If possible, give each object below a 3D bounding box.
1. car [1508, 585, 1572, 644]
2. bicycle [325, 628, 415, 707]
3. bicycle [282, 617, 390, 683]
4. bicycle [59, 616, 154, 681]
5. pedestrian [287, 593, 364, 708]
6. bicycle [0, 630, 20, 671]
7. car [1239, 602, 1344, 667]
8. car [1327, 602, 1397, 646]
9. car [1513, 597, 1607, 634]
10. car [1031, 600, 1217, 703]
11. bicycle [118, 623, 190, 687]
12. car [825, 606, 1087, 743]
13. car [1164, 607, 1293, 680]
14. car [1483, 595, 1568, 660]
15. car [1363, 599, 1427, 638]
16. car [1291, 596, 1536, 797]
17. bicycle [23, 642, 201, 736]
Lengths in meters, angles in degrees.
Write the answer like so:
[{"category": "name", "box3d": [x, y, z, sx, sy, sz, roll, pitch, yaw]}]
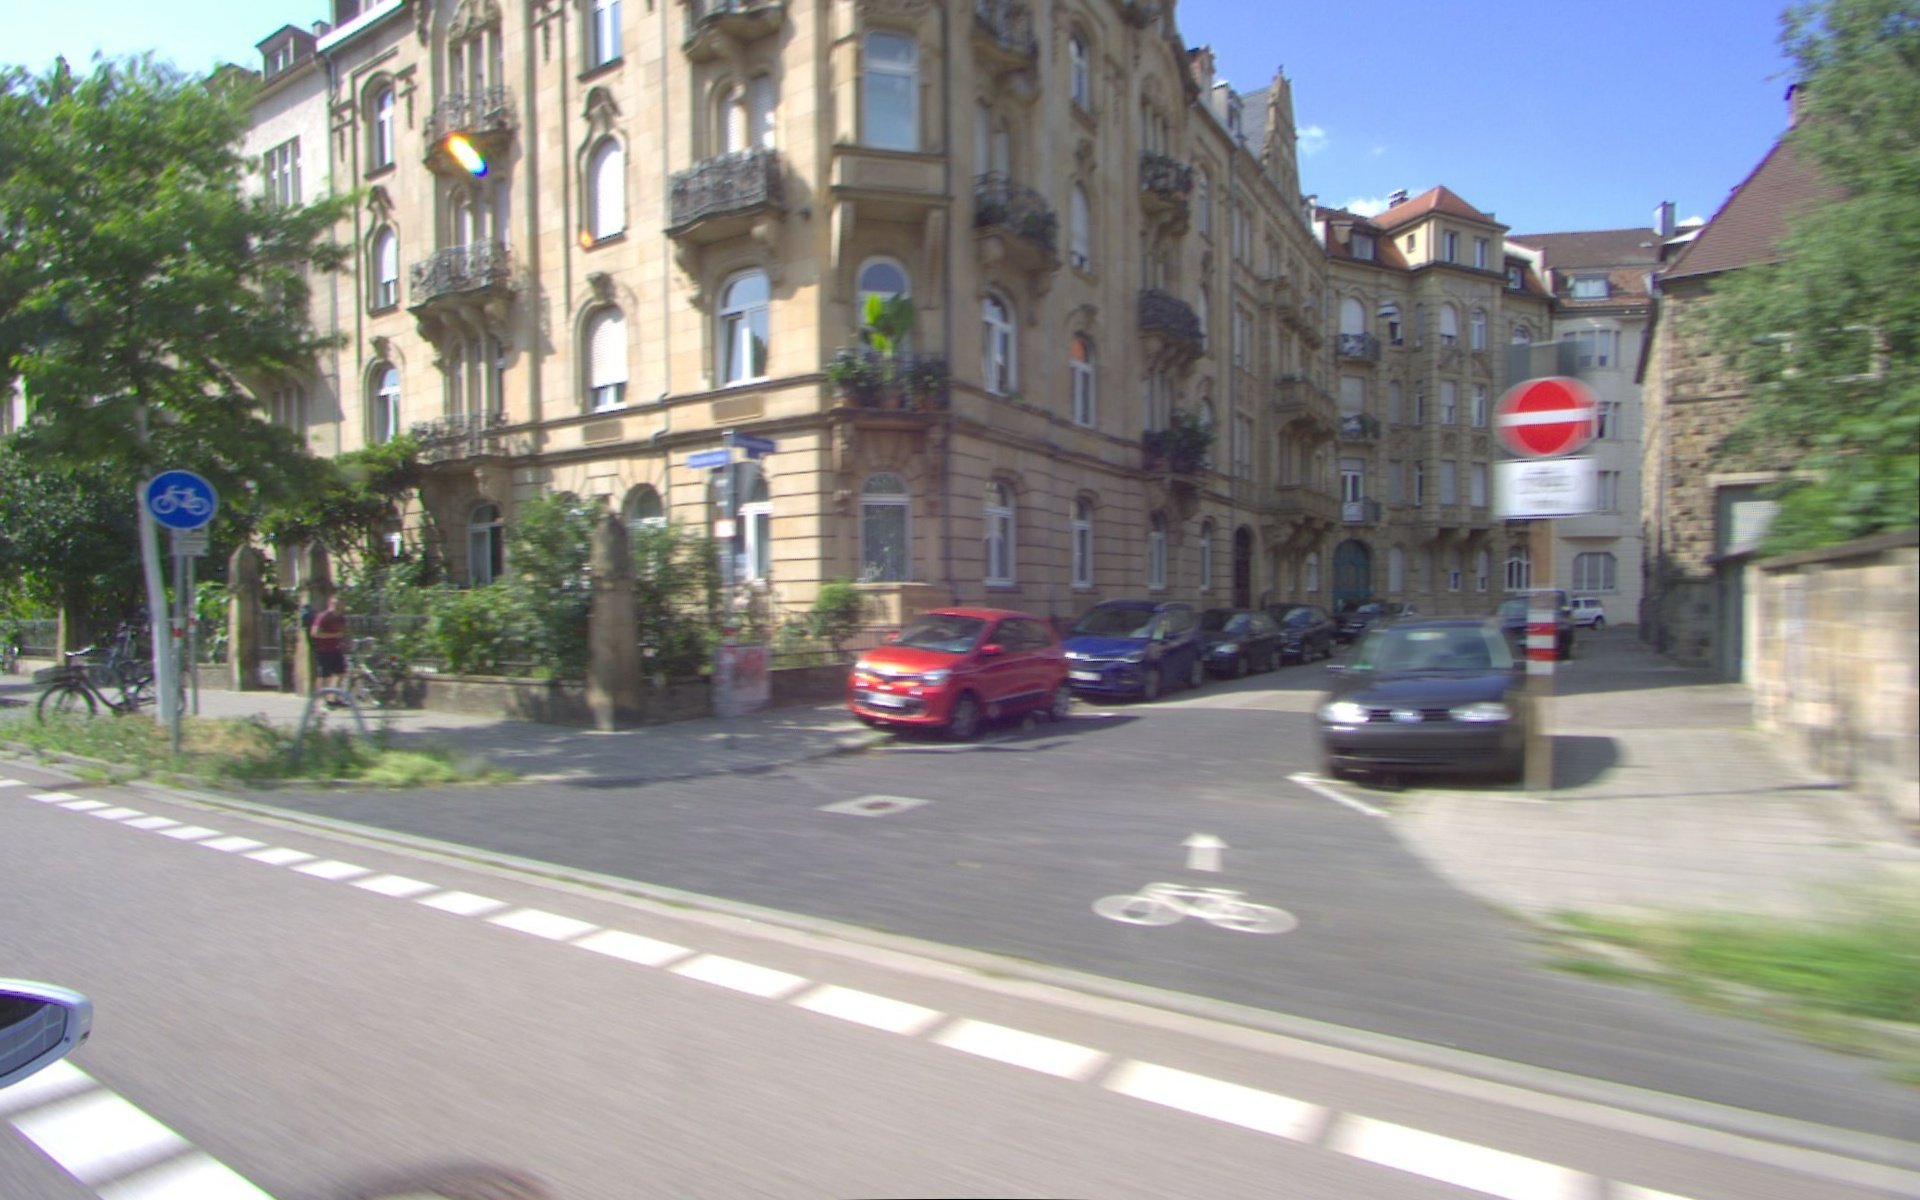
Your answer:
[{"category": "car", "box3d": [20.670, 0.504, 35.648, 1.798, 1.897, 4.245, -3, -2, 31]}, {"category": "bicycle", "box3d": [-8.937, 0.990, 15.141, 1.687, 1.123, 0.468, -1, 0, 33]}, {"category": "bicycle", "box3d": [-11.774, 0.918, 18.956, 0.464, 1.084, 1.703, 0, 3, 27]}, {"category": "bicycle", "box3d": [-17.897, 0.981, 20.963, 2.901, 1.266, 0.656, -1, 3, 33]}, {"category": "pedestrian", "box3d": [-9.389, 0.730, 14.825, 0.714, 1.650, 0.721, 0, 0, 33]}, {"category": "bicycle", "box3d": [-23.831, 1.227, 24.732, 1.782, 0.953, 0.426, -1, 3, 33]}, {"category": "car", "box3d": [9.103, 0.882, 27.350, 1.667, 1.565, 3.795, 0, 1, 36]}, {"category": "car", "box3d": [14.738, 0.840, 36.643, 1.666, 1.483, 3.798, 0, 1, 33]}, {"category": "car", "box3d": [28.493, 0.713, 47.547, 4.199, 1.575, 1.818, -2, -1, -27]}, {"category": "car", "box3d": [3.104, 0.833, 18.190, 1.806, 1.638, 4.245, 0, 0, 33]}, {"category": "bicycle", "box3d": [-15.590, 1.035, 19.342, 1.995, 1.155, 0.426, -1, 3, 33]}, {"category": "car", "box3d": [0.074, 0.883, 13.677, 1.734, 1.576, 3.730, 0, 0, 36]}, {"category": "car", "box3d": [6.270, 0.935, 23.134, 1.692, 1.468, 3.651, 0, 1, 36]}, {"category": "car", "box3d": [15.238, 0.717, 26.924, 1.798, 1.575, 4.245, -3, -2, 31]}, {"category": "car", "box3d": [17.968, 0.715, 41.279, 1.667, 1.483, 3.795, 0, 1, 36]}, {"category": "car", "box3d": [4.744, 0.803, 10.111, 1.732, 1.575, 4.245, -3, -2, 31]}, {"category": "bicycle", "box3d": [-10.910, 1.109, 12.951, 0.464, 1.083, 1.705, 0, 0, 27]}]
